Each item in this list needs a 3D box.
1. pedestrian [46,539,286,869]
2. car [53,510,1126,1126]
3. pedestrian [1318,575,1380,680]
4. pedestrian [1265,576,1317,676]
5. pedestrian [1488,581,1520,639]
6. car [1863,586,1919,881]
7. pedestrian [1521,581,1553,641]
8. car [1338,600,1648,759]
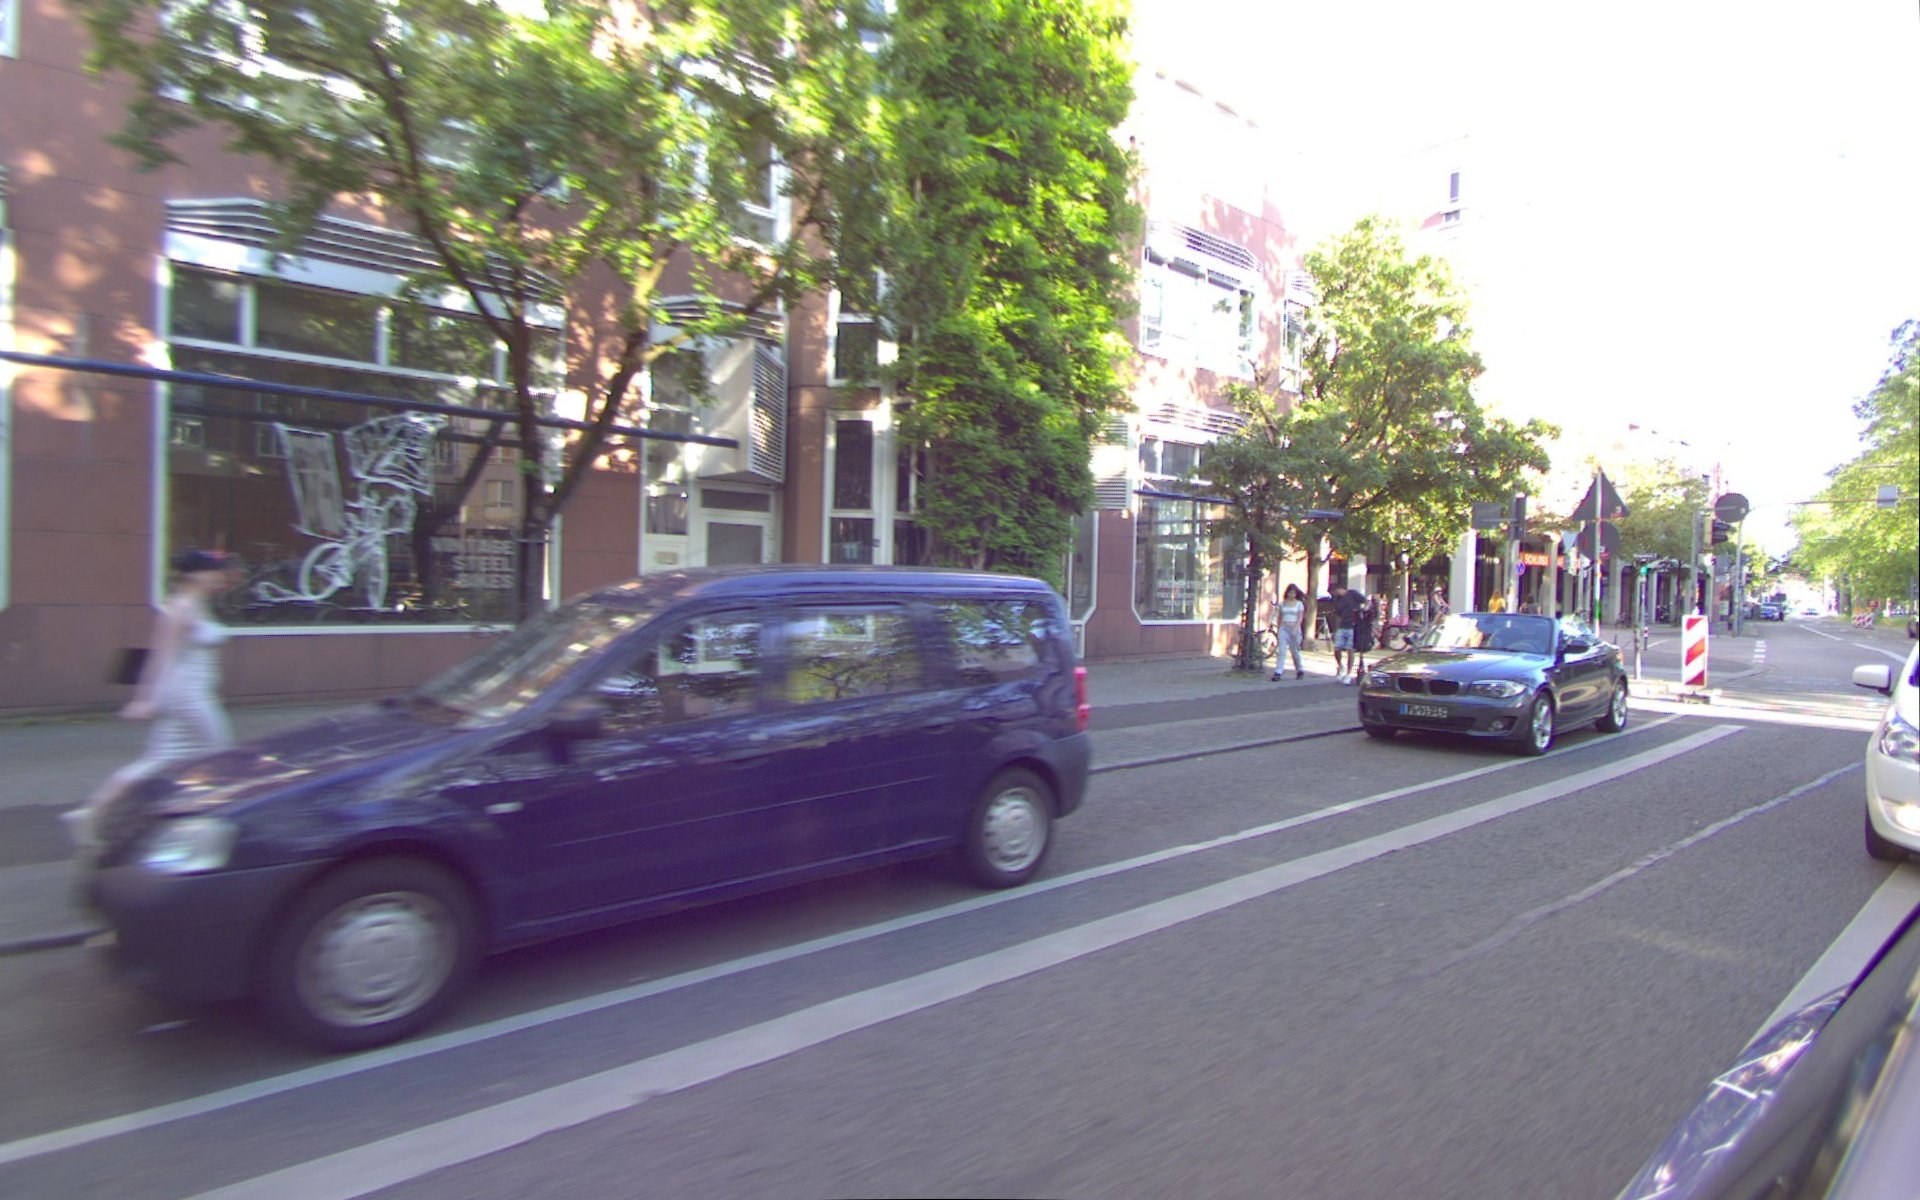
[{"bbox_3d":[-4.210,0.484,5.392,0.940,1.566,0.742,0,1,-41],"label":"pedestrian"},{"bbox_3d":[-1.340,0.557,4.837,4.397,1.647,1.807,0,1,-41],"label":"car"},{"bbox_3d":[6.216,0.420,16.181,0.708,1.628,0.641,0,1,-41],"label":"pedestrian"},{"bbox_3d":[5.553,0.417,16.980,0.589,1.628,0.563,0,1,-41],"label":"pedestrian"},{"bbox_3d":[15.715,0.291,29.216,0.677,1.636,0.548,2,1,41],"label":"pedestrian"},{"bbox_3d":[6.930,0.711,6.157,4.130,1.519,1.806,0,2,-44],"label":"car"},{"bbox_3d":[16.245,0.295,28.491,0.677,1.636,0.548,2,1,41],"label":"pedestrian"},{"bbox_3d":[5.888,0.701,10.980,3.925,1.347,1.806,0,2,-44],"label":"car"}]
